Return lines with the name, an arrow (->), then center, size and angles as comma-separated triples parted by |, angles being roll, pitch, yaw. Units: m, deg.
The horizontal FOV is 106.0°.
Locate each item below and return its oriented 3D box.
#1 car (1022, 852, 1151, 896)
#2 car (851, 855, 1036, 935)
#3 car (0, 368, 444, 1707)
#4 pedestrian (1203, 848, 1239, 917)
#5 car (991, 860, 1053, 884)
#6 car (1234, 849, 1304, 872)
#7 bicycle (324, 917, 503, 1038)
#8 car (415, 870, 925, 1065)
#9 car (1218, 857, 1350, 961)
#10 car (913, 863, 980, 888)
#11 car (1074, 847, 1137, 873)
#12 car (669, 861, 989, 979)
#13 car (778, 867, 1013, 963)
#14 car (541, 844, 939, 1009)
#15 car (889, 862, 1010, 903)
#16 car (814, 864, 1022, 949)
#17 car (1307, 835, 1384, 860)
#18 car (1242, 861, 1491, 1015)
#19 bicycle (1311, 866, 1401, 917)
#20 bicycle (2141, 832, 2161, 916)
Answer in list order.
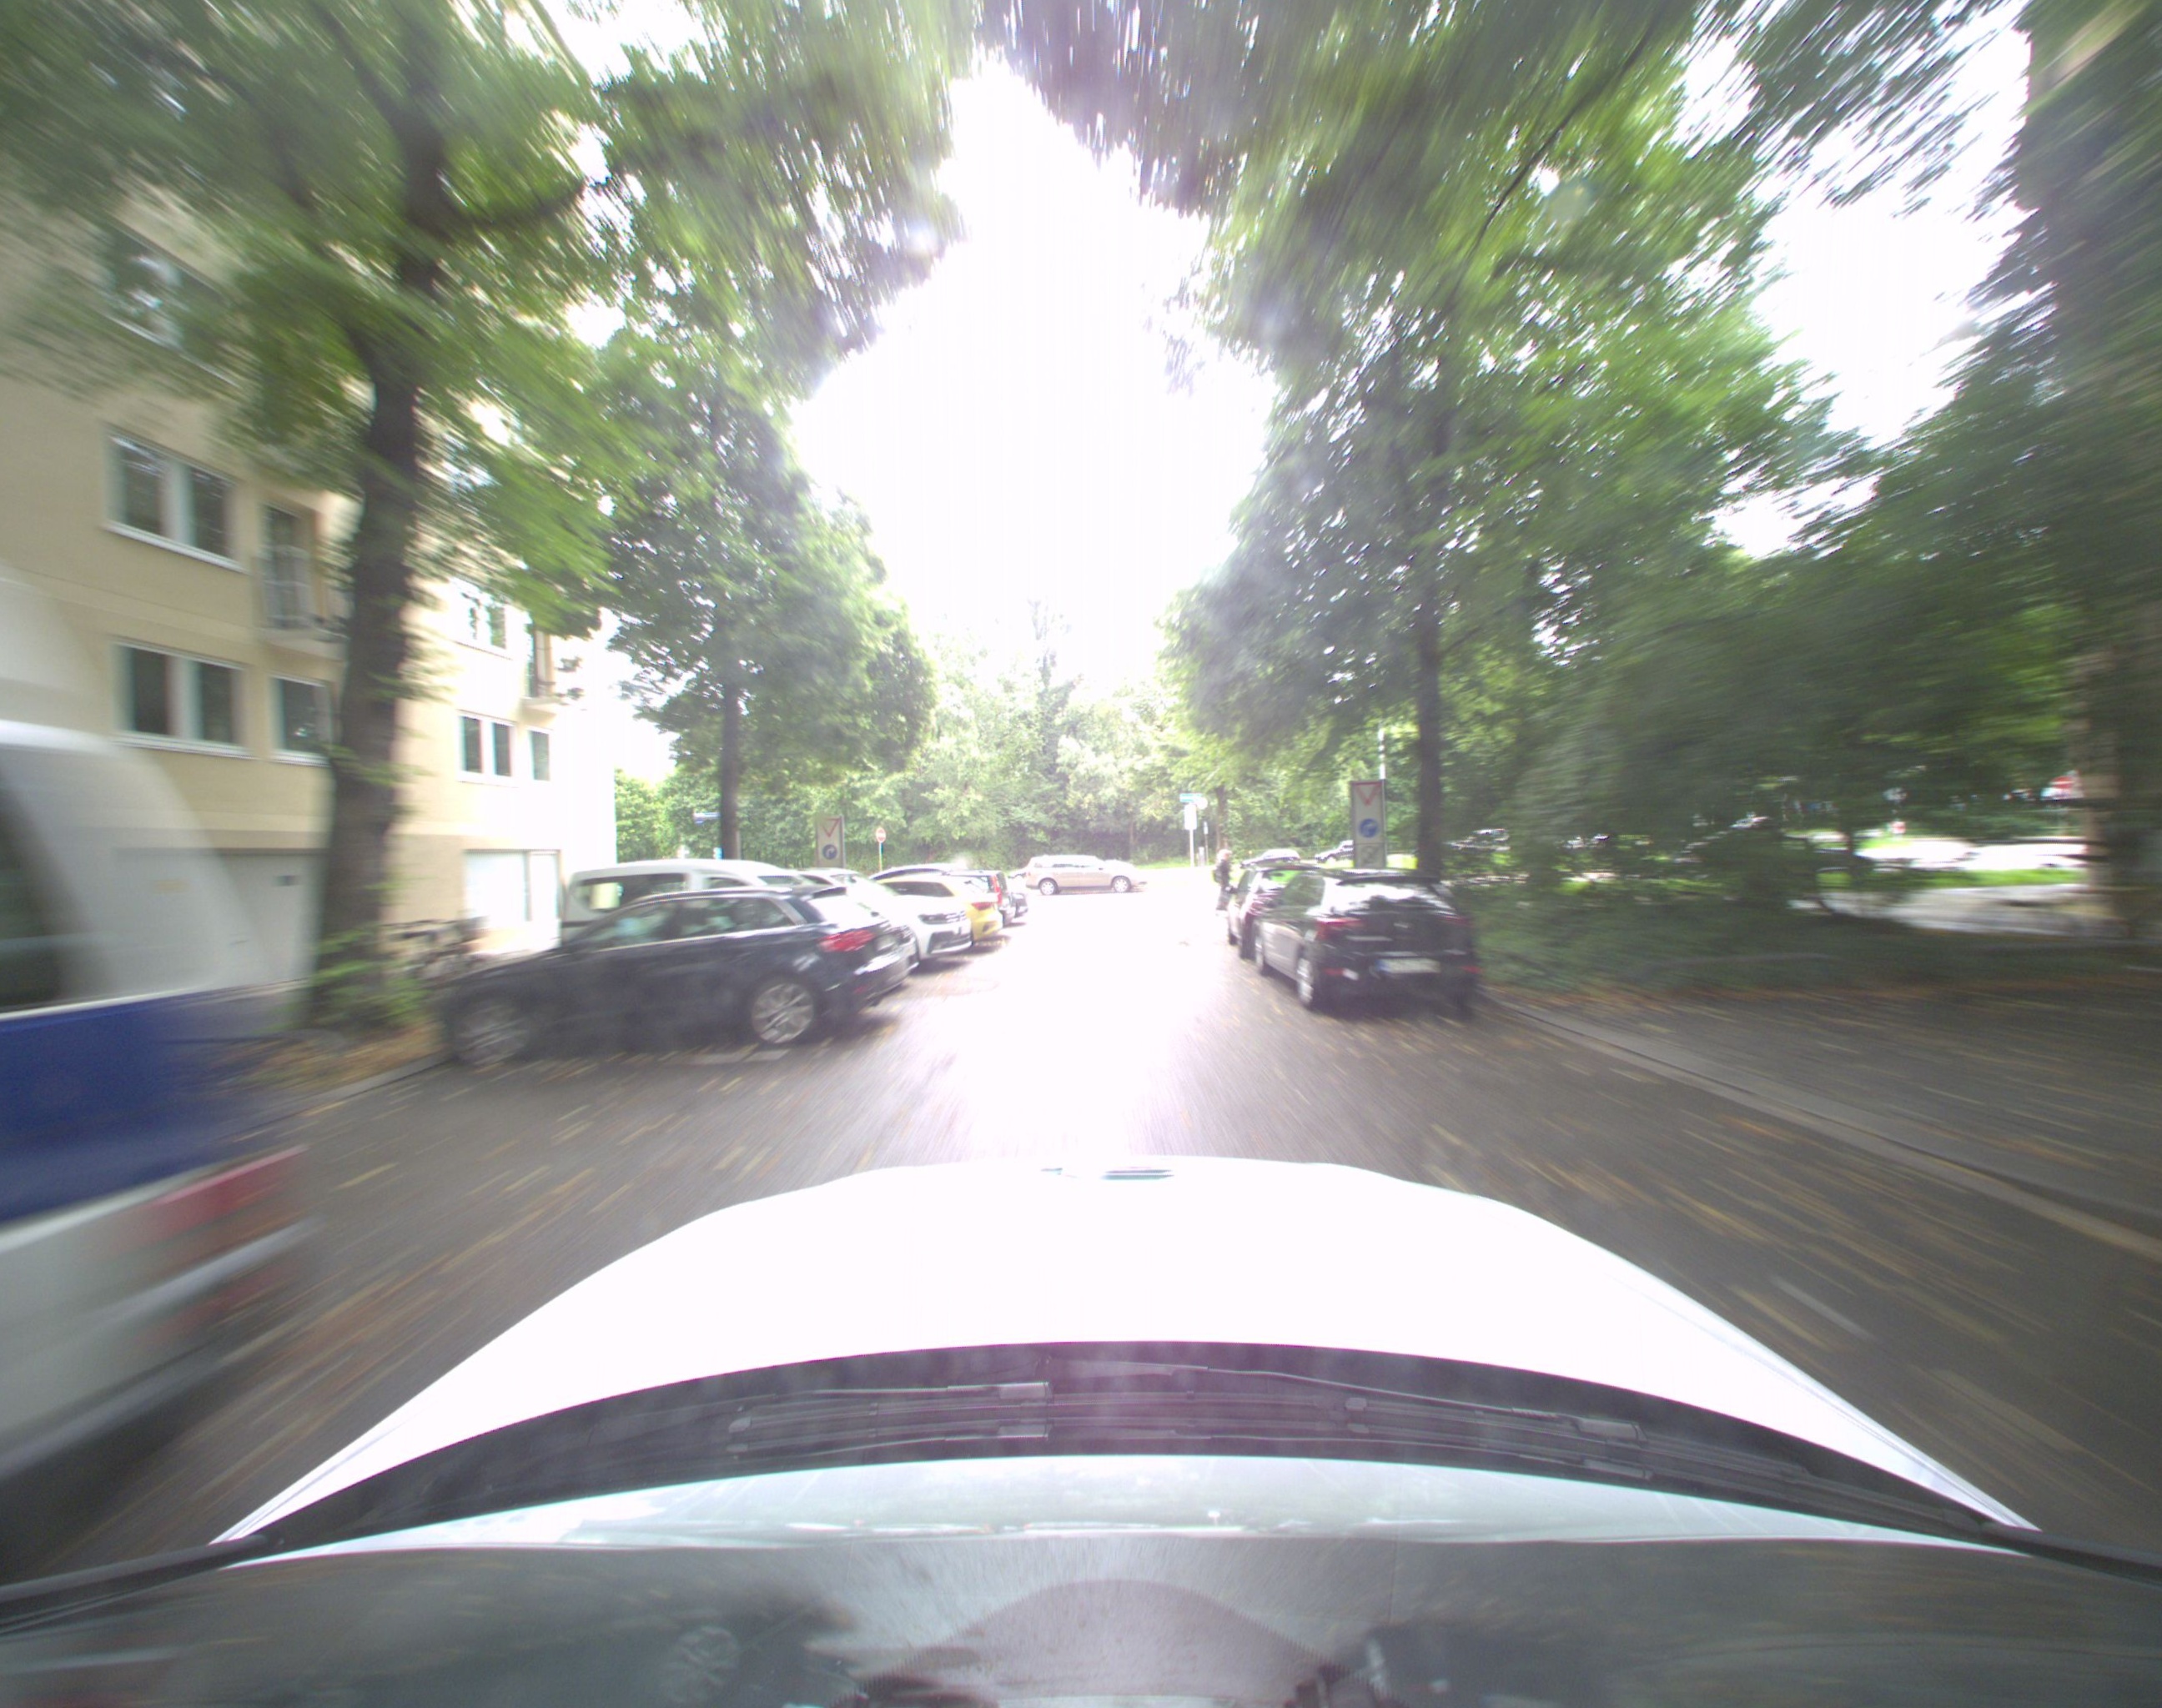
car -> 0.256, 0.776, 31.776 | 4.774, 1.495, 1.846 | -2, 0, 8
car -> -3.323, 0.985, 20.248 | 4.146, 1.601, 1.737 | -3, 1, 2
car -> -4.045, 0.473, 2.035 | 4.526, 2.377, 1.916 | -4, -1, 25
pedestrian -> 3.478, 0.696, 20.228 | 0.775, 1.617, 0.762 | -2, 2, 5
car -> -4.255, 1.318, 59.177 | 4.219, 1.494, 2.000 | -3, 0, 0
car -> 13.824, 0.470, 60.031 | 4.575, 1.472, 1.928 | -3, 0, -6
bicycle -> -7.468, 1.376, 9.133 | 1.671, 1.236, 0.489 | -2, 0, 6
car -> -3.735, 1.007, 7.890 | 3.971, 1.433, 1.737 | -3, 0, 2
car -> 3.322, 0.827, 13.945 | 1.639, 1.474, 3.649 | -2, 0, 5
car -> -9.703, 1.537, 59.017 | 4.422, 1.579, 1.930 | -3, 0, -2
car -> 1.753, 0.435, 59.050 | 4.419, 1.579, 1.932 | -3, 0, 0
car -> -3.890, 1.001, 12.961 | 4.423, 1.596, 1.839 | -2, 0, 7
car -> -3.344, 1.083, 15.219 | 3.865, 1.441, 1.741 | -3, 0, 1
car -> -4.248, 0.872, 10.558 | 4.292, 1.731, 1.851 | -3, 0, 5
car -> -5.193, 1.127, 32.457 | 4.320, 1.380, 1.775 | -3, 0, 11
car -> -3.396, 1.091, 17.470 | 3.971, 1.464, 1.737 | -3, 0, 2
car -> 19.515, -0.472, 60.218 | 5.022, 1.565, 1.996 | -3, 0, -6
car -> 3.091, 0.814, 9.690 | 1.675, 1.358, 4.011 | -2, 0, 2
bicycle -> 5.792, 0.787, 17.195 | 1.740, 0.982, 0.274 | -3, -1, 11
bicycle -> 13.810, 0.238, 9.475 | 0.552, 1.044, 1.837 | -3, 0, 1
